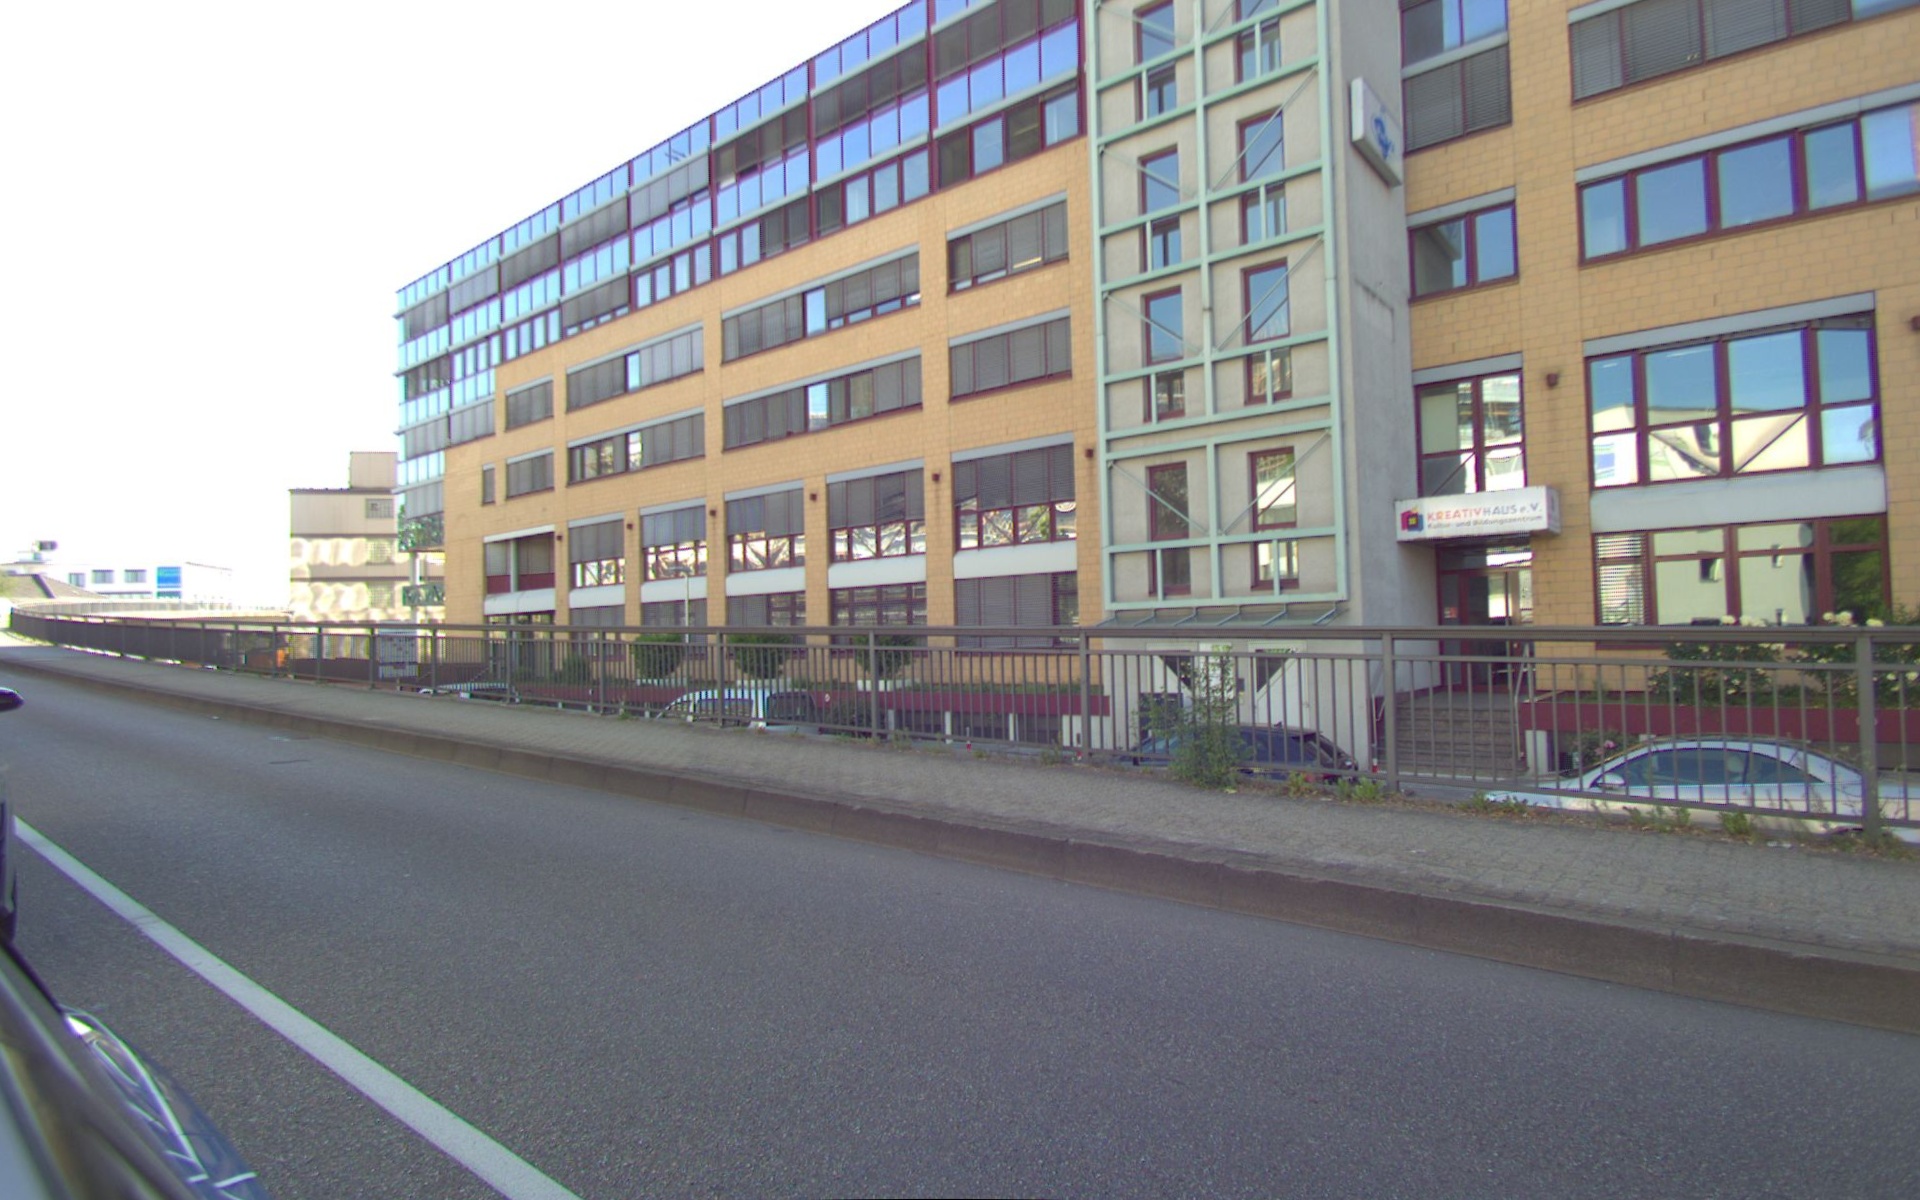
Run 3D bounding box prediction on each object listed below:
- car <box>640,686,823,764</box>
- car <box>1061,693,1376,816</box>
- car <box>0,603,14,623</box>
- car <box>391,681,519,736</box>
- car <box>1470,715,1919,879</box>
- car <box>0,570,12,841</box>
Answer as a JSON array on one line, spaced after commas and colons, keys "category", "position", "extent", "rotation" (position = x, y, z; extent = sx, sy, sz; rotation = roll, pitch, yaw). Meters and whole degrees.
[{"category": "car", "position": [-4.597, 2.416, 20.133], "extent": [3.805, 1.279, 1.560], "rotation": [-3, -4, 40]}, {"category": "car", "position": [3.373, 1.968, 13.602], "extent": [3.805, 1.279, 1.560], "rotation": [-3, -4, 40]}, {"category": "car", "position": [-74.022, 0.932, 76.921], "extent": [1.919, 1.475, 4.013], "rotation": [5, -3, -26]}, {"category": "car", "position": [-13.823, 2.916, 27.632], "extent": [3.805, 1.279, 1.744], "rotation": [-3, -4, 40]}, {"category": "car", "position": [7.689, 1.878, 10.222], "extent": [4.254, 1.175, 1.704], "rotation": [-3, -4, 40]}, {"category": "car", "position": [-5.847, 0.754, 4.666], "extent": [3.998, 1.660, 1.726], "rotation": [-3, -4, 41]}]
